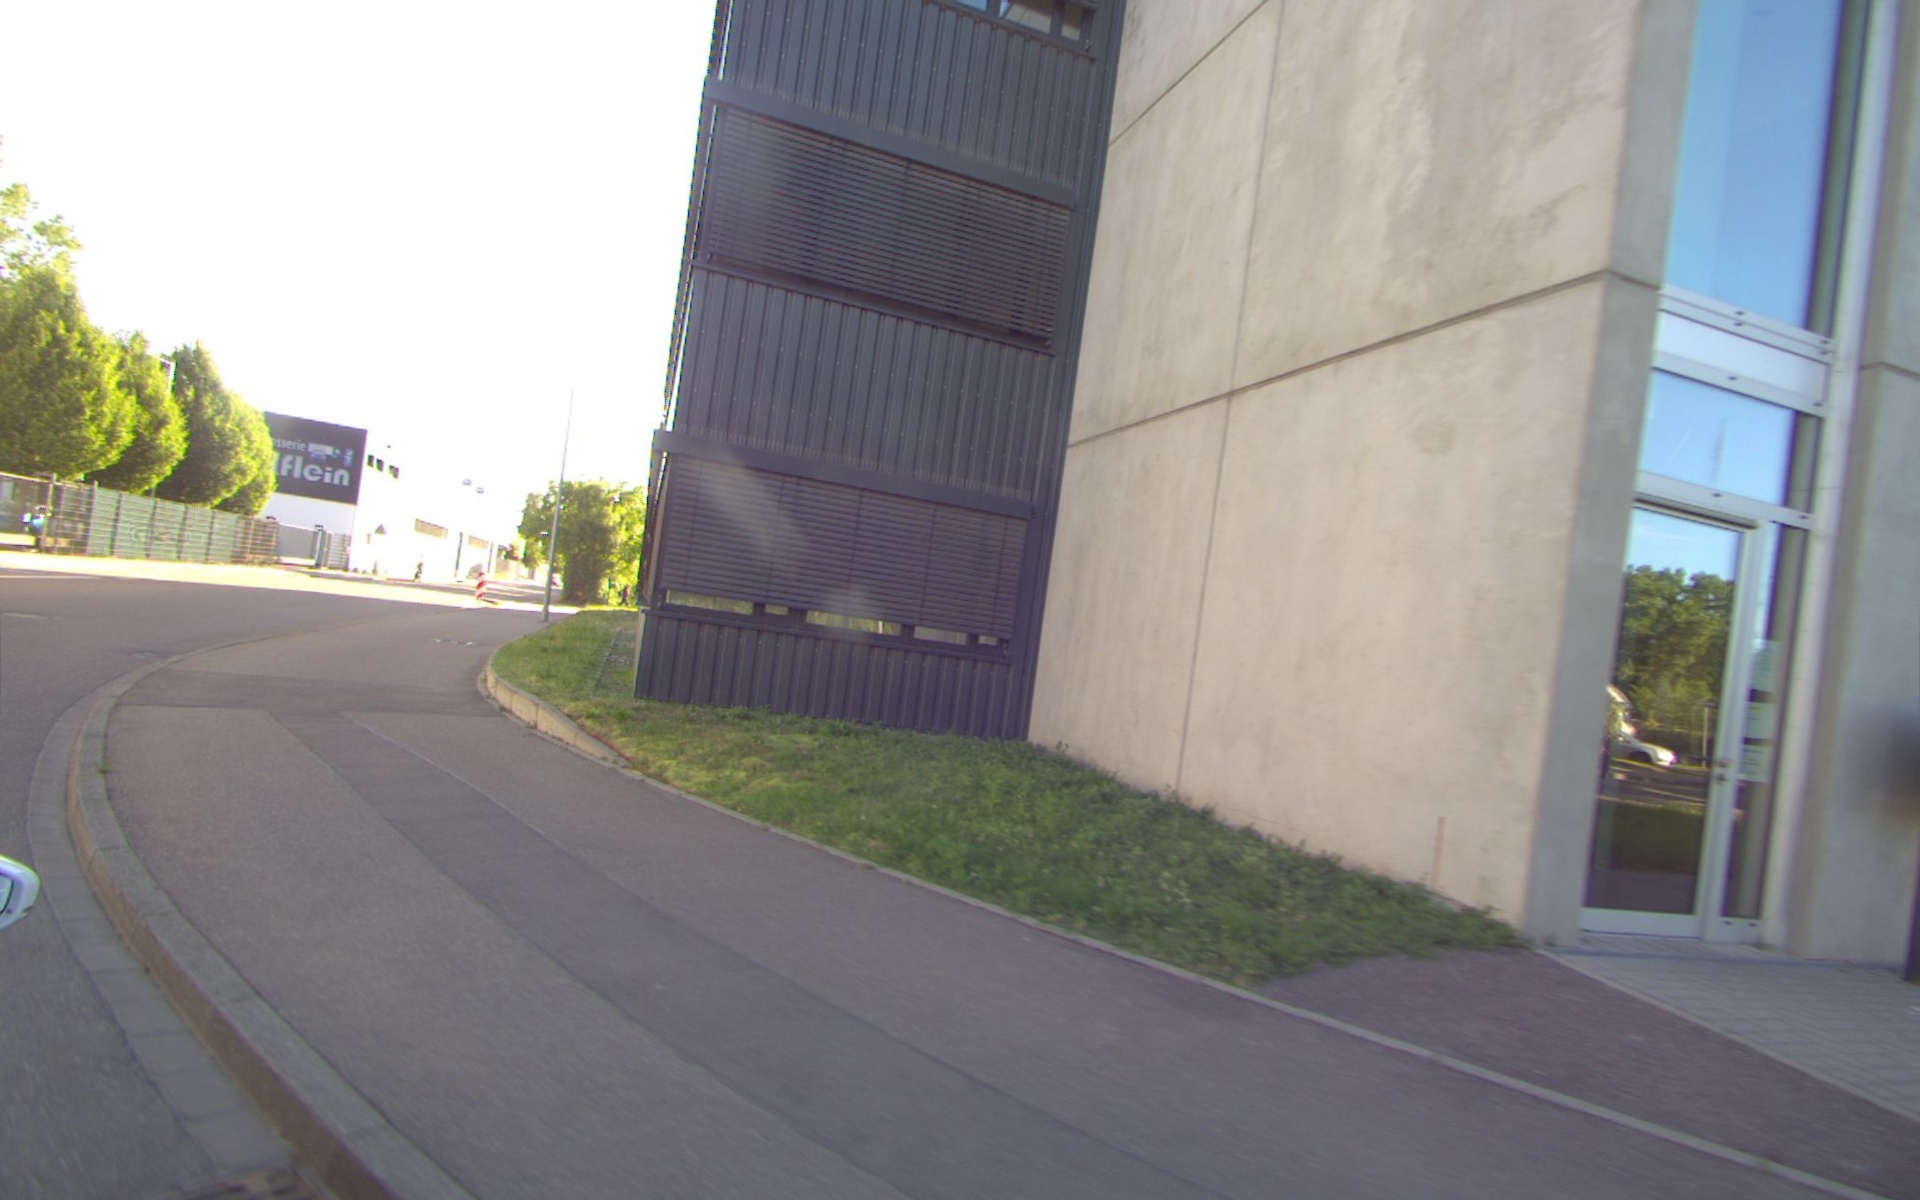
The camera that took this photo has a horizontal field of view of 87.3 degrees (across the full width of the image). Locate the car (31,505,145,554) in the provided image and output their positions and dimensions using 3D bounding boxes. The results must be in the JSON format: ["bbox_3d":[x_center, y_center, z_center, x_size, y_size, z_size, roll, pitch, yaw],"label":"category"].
[{"bbox_3d":[-35.955,-2.866,41.619,1.971,1.468,3.986,9,-2,-18],"label":"car"}]

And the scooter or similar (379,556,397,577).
[{"bbox_3d":[-37.552,-2.179,66.065,0.502,1.215,1.747,11,-3,-18],"label":"scooter or similar"}]

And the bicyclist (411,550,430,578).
[{"bbox_3d":[-33.961,-2.258,63.318,0.738,1.647,0.830,8,-1,-20],"label":"bicyclist"}]

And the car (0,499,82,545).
[{"bbox_3d":[-38.158,-3.221,41.019,1.971,1.468,3.986,9,-2,-18],"label":"car"}]

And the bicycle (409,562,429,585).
[{"bbox_3d":[-34.051,-1.645,63.308,0.660,1.303,2.163,8,-2,-20],"label":"bicycle"}]

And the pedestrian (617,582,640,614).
[{"bbox_3d":[-20.069,-0.124,60.927,1.140,1.815,0.892,5,0,-23],"label":"pedestrian"}]
